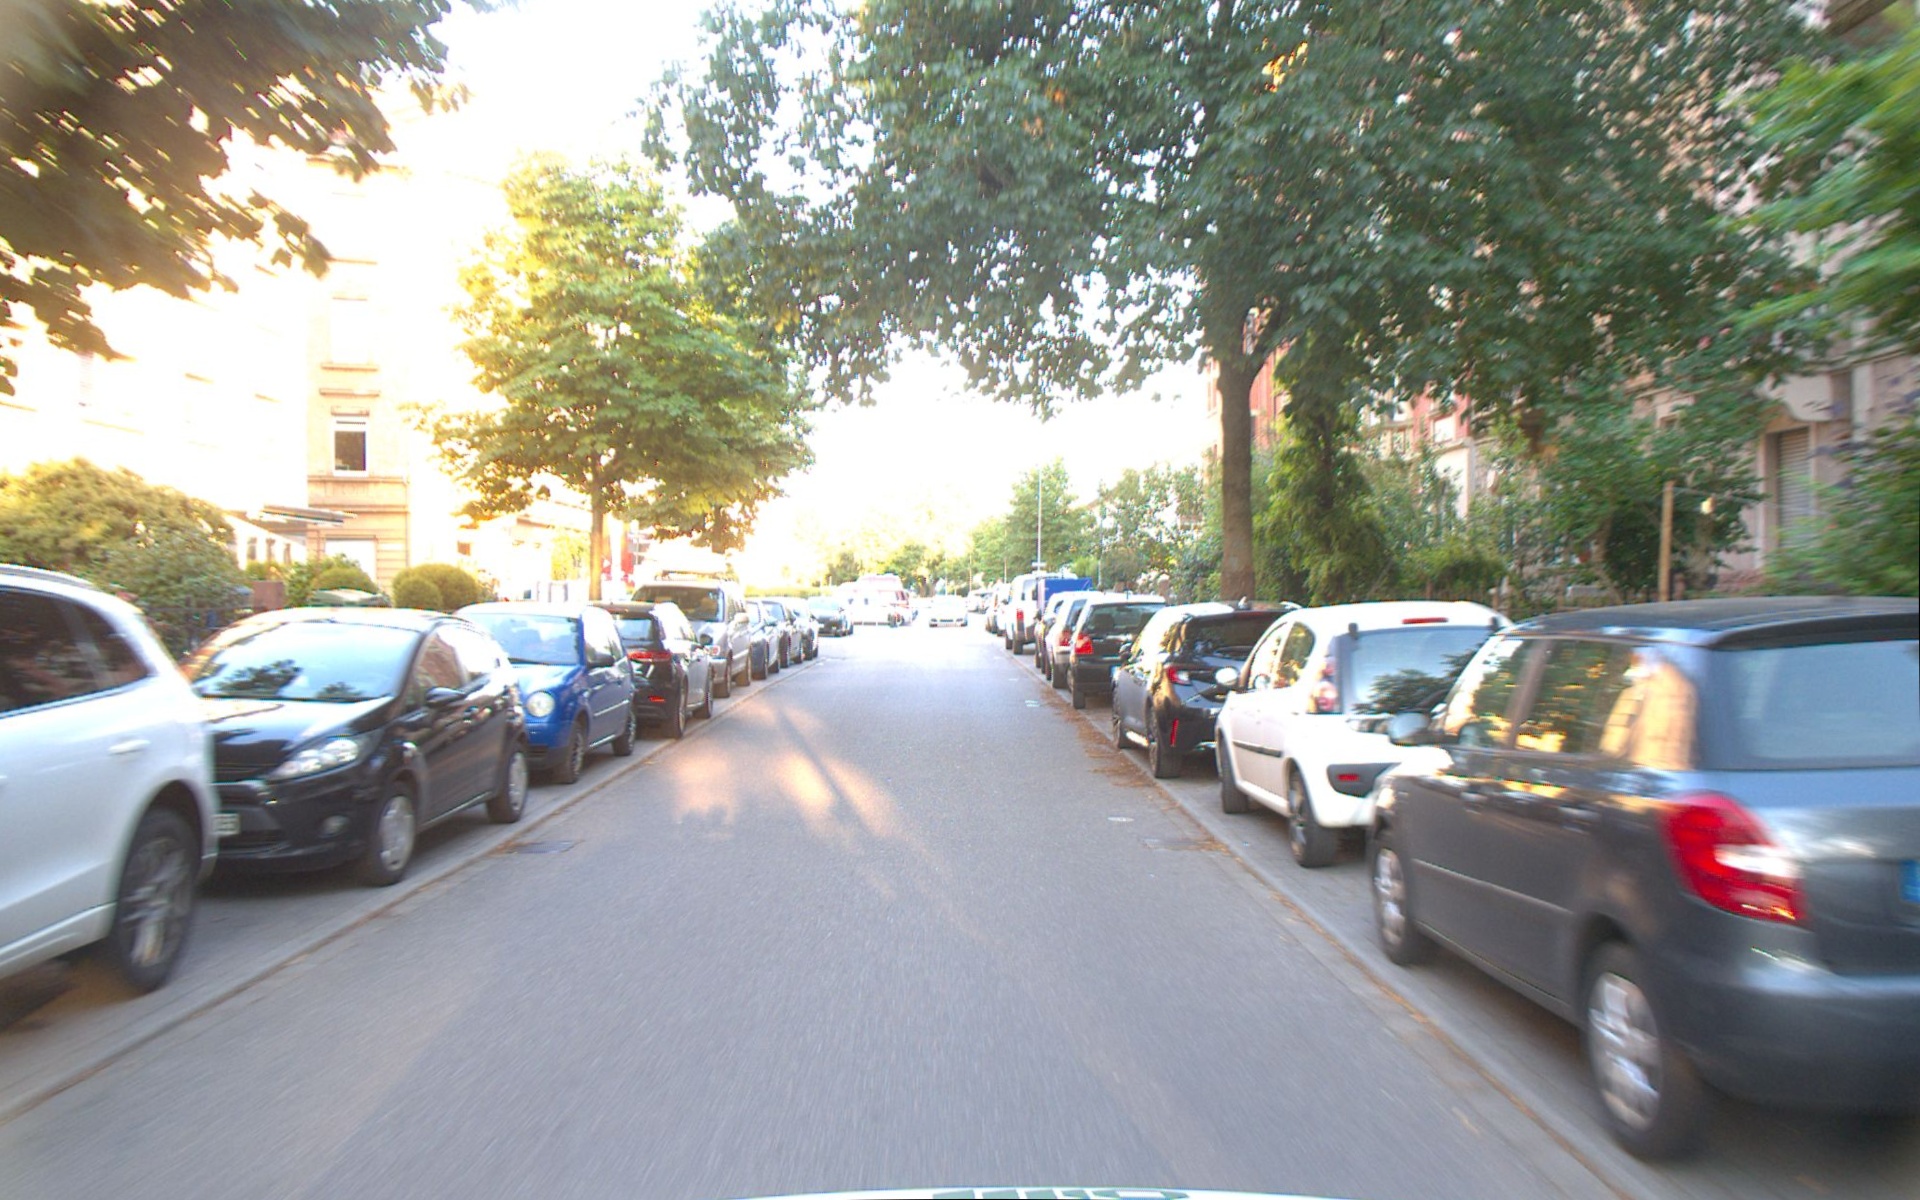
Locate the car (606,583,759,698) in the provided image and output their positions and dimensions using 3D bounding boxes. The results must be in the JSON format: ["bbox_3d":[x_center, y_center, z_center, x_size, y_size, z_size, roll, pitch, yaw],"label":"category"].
[{"bbox_3d":[-4.211,0.571,25.750,1.681,1.624,4.518,0,0,-1],"label":"car"}]

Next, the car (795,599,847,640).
[{"bbox_3d":[-5.283,0.760,63.143,1.680,1.512,3.630,0,-1,0],"label":"car"}]

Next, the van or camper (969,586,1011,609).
[{"bbox_3d":[3.803,-0.325,208.619,5.170,2.840,1.547,0,0,-12],"label":"van or camper"}]

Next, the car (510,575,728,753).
[{"bbox_3d":[-3.777,0.640,19.000,1.681,1.821,4.215,0,0,-1],"label":"car"}]

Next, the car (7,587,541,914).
[{"bbox_3d":[-3.829,0.753,9.982,1.681,1.594,3.780,0,-1,-1],"label":"car"}]

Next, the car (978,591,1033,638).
[{"bbox_3d":[1.608,0.522,59.600,1.653,1.634,3.937,0,0,-3],"label":"car"}]

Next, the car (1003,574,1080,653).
[{"bbox_3d":[2.109,0.350,43.715,1.646,1.975,3.878,0,0,-3],"label":"car"}]

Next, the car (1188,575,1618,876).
[{"bbox_3d":[2.683,0.691,10.901,1.653,1.634,3.746,0,0,-3],"label":"car"}]

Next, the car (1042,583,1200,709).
[{"bbox_3d":[2.194,0.607,23.469,1.653,1.634,3.937,0,0,-3],"label":"car"}]

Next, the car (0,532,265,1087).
[{"bbox_3d":[-3.962,0.662,5.021,1.882,1.747,4.427,0,0,-1],"label":"car"}]

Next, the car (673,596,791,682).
[{"bbox_3d":[-4.169,0.670,30.771,1.681,1.490,3.986,0,0,-1],"label":"car"}]

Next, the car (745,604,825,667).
[{"bbox_3d":[-4.287,0.837,40.975,1.566,1.466,3.837,0,0,0],"label":"car"}]

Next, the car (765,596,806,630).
[{"bbox_3d":[-7.851,0.577,74.664,1.682,1.466,3.627,-1,0,-4],"label":"car"}]

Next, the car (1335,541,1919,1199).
[{"bbox_3d":[2.637,0.690,6.011,1.652,1.634,4.210,0,0,1],"label":"car"}]

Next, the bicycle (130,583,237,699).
[{"bbox_3d":[-8.466,0.426,18.091,0.425,1.206,1.618,0,0,0],"label":"bicycle"}]

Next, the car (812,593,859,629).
[{"bbox_3d":[-5.171,0.455,69.230,1.680,1.466,3.630,0,0,0],"label":"car"}]

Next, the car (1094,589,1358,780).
[{"bbox_3d":[2.308,0.690,15.381,1.652,1.466,4.208,-2,0,-1],"label":"car"}]

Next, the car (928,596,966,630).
[{"bbox_3d":[-0.645,0.629,81.091,1.776,1.624,3.482,0,0,-1],"label":"car"}]

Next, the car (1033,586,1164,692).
[{"bbox_3d":[2.242,0.611,27.615,1.653,1.634,3.937,0,0,-3],"label":"car"}]

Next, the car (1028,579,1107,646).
[{"bbox_3d":[2.568,0.294,40.002,1.508,1.548,3.429,0,0,-3],"label":"car"}]

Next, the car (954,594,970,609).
[{"bbox_3d":[0.211,0.113,182.839,1.681,1.624,3.482,0,0,-1],"label":"car"}]

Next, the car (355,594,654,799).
[{"bbox_3d":[-3.914,0.744,14.842,1.681,1.594,3.787,0,0,-1],"label":"car"}]

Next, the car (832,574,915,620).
[{"bbox_3d":[-4.493,-0.164,85.929,4.262,2.358,1.745,0,0,-2],"label":"car"}]

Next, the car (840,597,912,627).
[{"bbox_3d":[-4.247,0.605,83.400,3.547,1.487,1.605,0,0,-5],"label":"car"}]

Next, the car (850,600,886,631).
[{"bbox_3d":[-4.481,0.743,80.387,1.682,1.466,3.628,0,0,-4],"label":"car"}]

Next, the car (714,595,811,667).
[{"bbox_3d":[-4.195,0.626,35.520,1.681,1.466,3.630,0,0,-1],"label":"car"}]

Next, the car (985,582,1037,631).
[{"bbox_3d":[1.947,0.261,64.160,1.653,1.843,3.937,0,0,-3],"label":"car"}]
